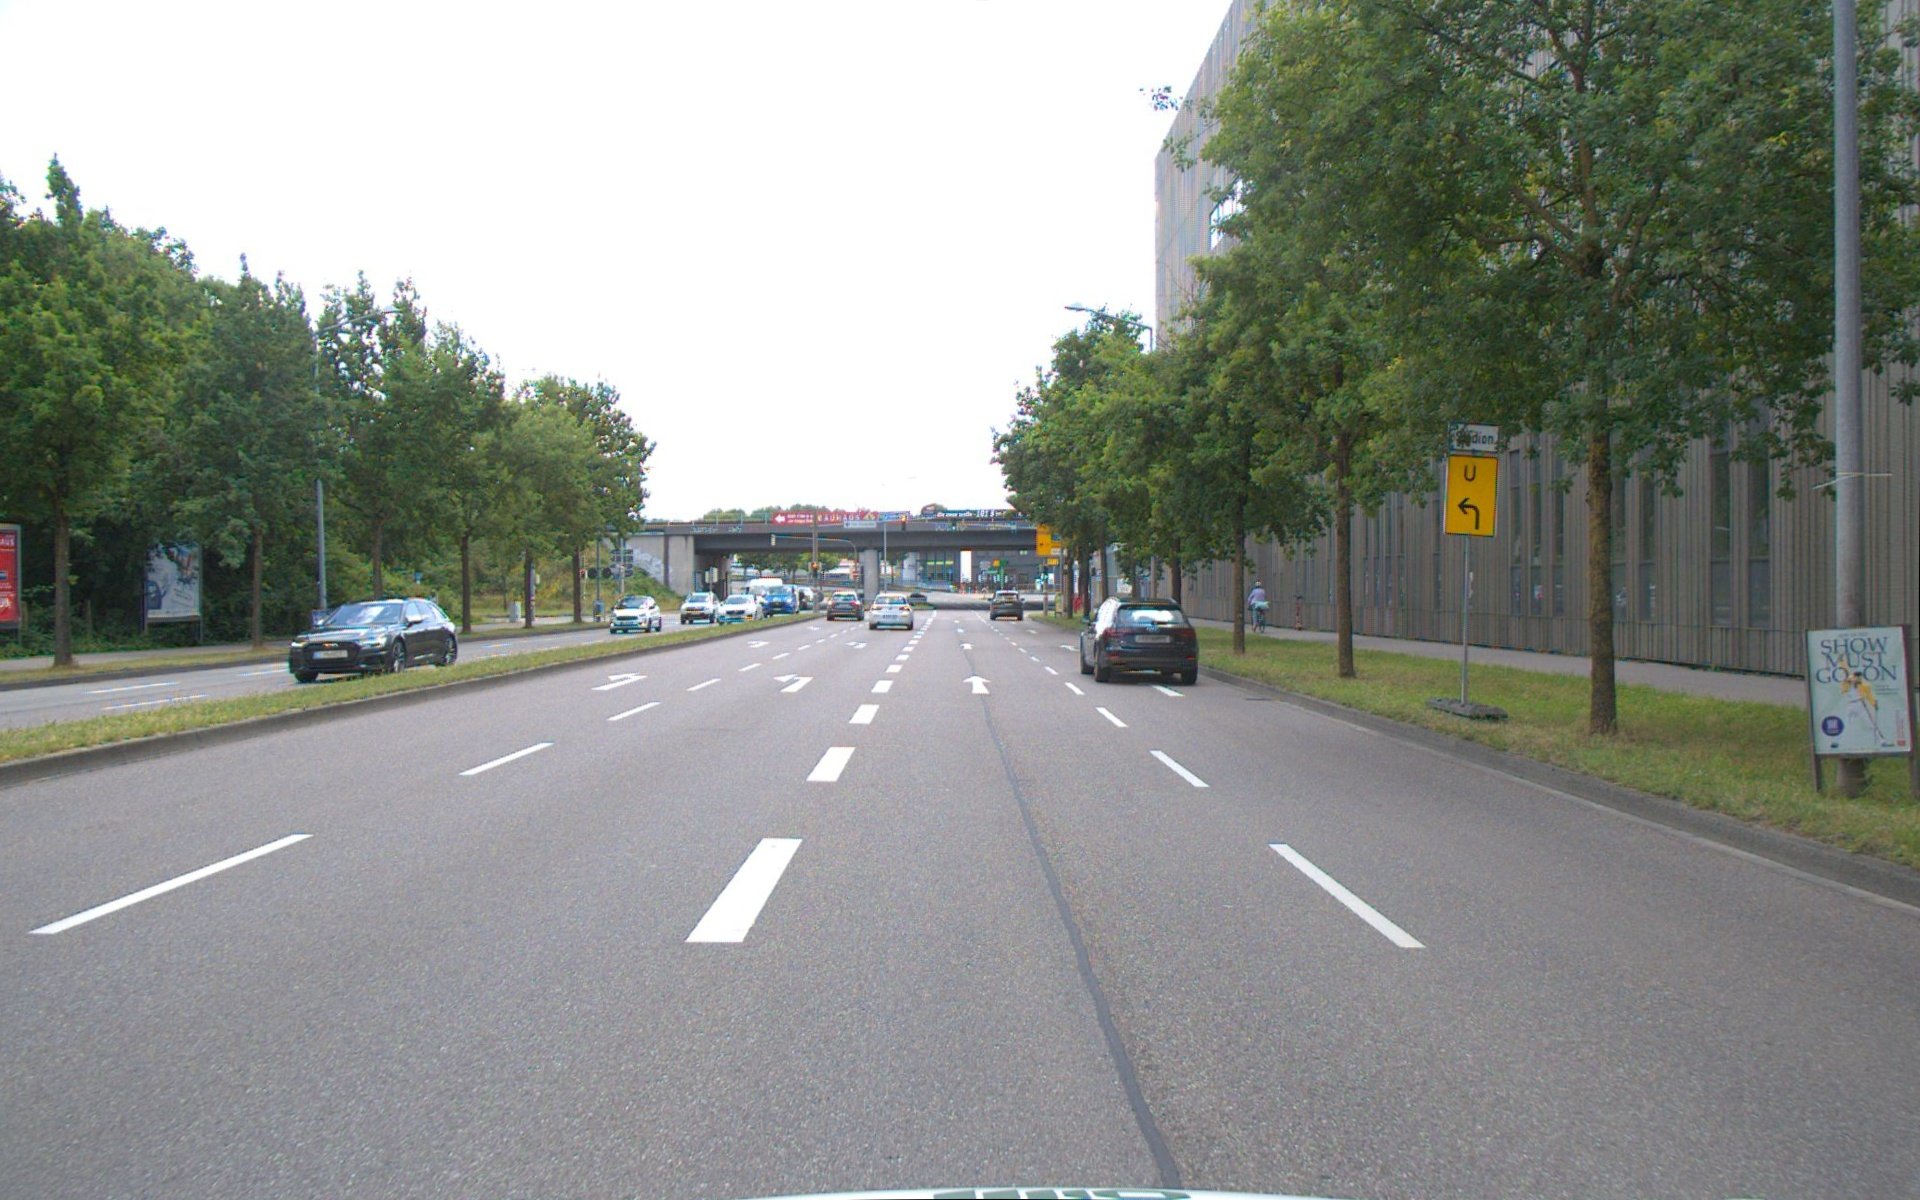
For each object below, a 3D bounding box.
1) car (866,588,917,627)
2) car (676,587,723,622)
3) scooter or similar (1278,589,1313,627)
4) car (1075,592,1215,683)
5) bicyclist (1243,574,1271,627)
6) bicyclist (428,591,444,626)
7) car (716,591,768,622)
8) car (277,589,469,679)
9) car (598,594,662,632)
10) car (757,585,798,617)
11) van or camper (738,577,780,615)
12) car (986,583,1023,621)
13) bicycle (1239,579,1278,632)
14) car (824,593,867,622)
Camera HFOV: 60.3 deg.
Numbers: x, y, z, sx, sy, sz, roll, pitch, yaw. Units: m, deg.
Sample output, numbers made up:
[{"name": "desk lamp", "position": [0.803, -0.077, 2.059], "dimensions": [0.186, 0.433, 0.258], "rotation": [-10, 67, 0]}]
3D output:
[{"name": "car", "position": [-2.757, 0.270, 67.376], "dimensions": [1.876, 1.439, 4.295], "rotation": [2, 0, -1]}, {"name": "car", "position": [-14.128, 0.213, 89.964], "dimensions": [1.953, 1.832, 4.408], "rotation": [-1, 0, -2]}, {"name": "scooter or similar", "position": [11.890, 0.270, 58.672], "dimensions": [0.690, 1.268, 2.479], "rotation": [-2, 0, 0]}, {"name": "car", "position": [3.232, 0.609, 29.752], "dimensions": [1.953, 1.414, 4.575], "rotation": [1, 1, -1]}, {"name": "bicyclist", "position": [10.319, 0.013, 57.536], "dimensions": [0.701, 1.800, 0.988], "rotation": [-1, 0, -4]}, {"name": "bicyclist", "position": [-22.726, 0.375, 71.759], "dimensions": [0.484, 1.490, 0.712], "rotation": [1, 0, -6]}, {"name": "car", "position": [-10.874, 0.318, 82.813], "dimensions": [1.953, 1.456, 5.024], "rotation": [-1, 0, 0]}, {"name": "car", "position": [-11.049, 0.588, 31.534], "dimensions": [1.919, 1.543, 4.909], "rotation": [-1, 0, -1]}, {"name": "car", "position": [-13.929, 0.525, 69.999], "dimensions": [1.875, 1.468, 4.414], "rotation": [-3, 0, -1]}, {"name": "car", "position": [-11.539, 0.041, 104.878], "dimensions": [2.146, 1.998, 5.192], "rotation": [-1, 0, -2]}, {"name": "van or camper", "position": [-14.132, -0.333, 116.675], "dimensions": [2.304, 2.584, 7.062], "rotation": [0, 0, -1]}, {"name": "car", "position": [2.517, 0.103, 94.544], "dimensions": [1.953, 2.073, 4.713], "rotation": [-1, 0, 0]}, {"name": "bicycle", "position": [10.332, 0.186, 57.327], "dimensions": [0.705, 1.805, 2.531], "rotation": [-1, 0, -4]}, {"name": "car", "position": [-5.894, 0.365, 85.573], "dimensions": [1.953, 1.440, 4.832], "rotation": [1, 0, 0]}]
